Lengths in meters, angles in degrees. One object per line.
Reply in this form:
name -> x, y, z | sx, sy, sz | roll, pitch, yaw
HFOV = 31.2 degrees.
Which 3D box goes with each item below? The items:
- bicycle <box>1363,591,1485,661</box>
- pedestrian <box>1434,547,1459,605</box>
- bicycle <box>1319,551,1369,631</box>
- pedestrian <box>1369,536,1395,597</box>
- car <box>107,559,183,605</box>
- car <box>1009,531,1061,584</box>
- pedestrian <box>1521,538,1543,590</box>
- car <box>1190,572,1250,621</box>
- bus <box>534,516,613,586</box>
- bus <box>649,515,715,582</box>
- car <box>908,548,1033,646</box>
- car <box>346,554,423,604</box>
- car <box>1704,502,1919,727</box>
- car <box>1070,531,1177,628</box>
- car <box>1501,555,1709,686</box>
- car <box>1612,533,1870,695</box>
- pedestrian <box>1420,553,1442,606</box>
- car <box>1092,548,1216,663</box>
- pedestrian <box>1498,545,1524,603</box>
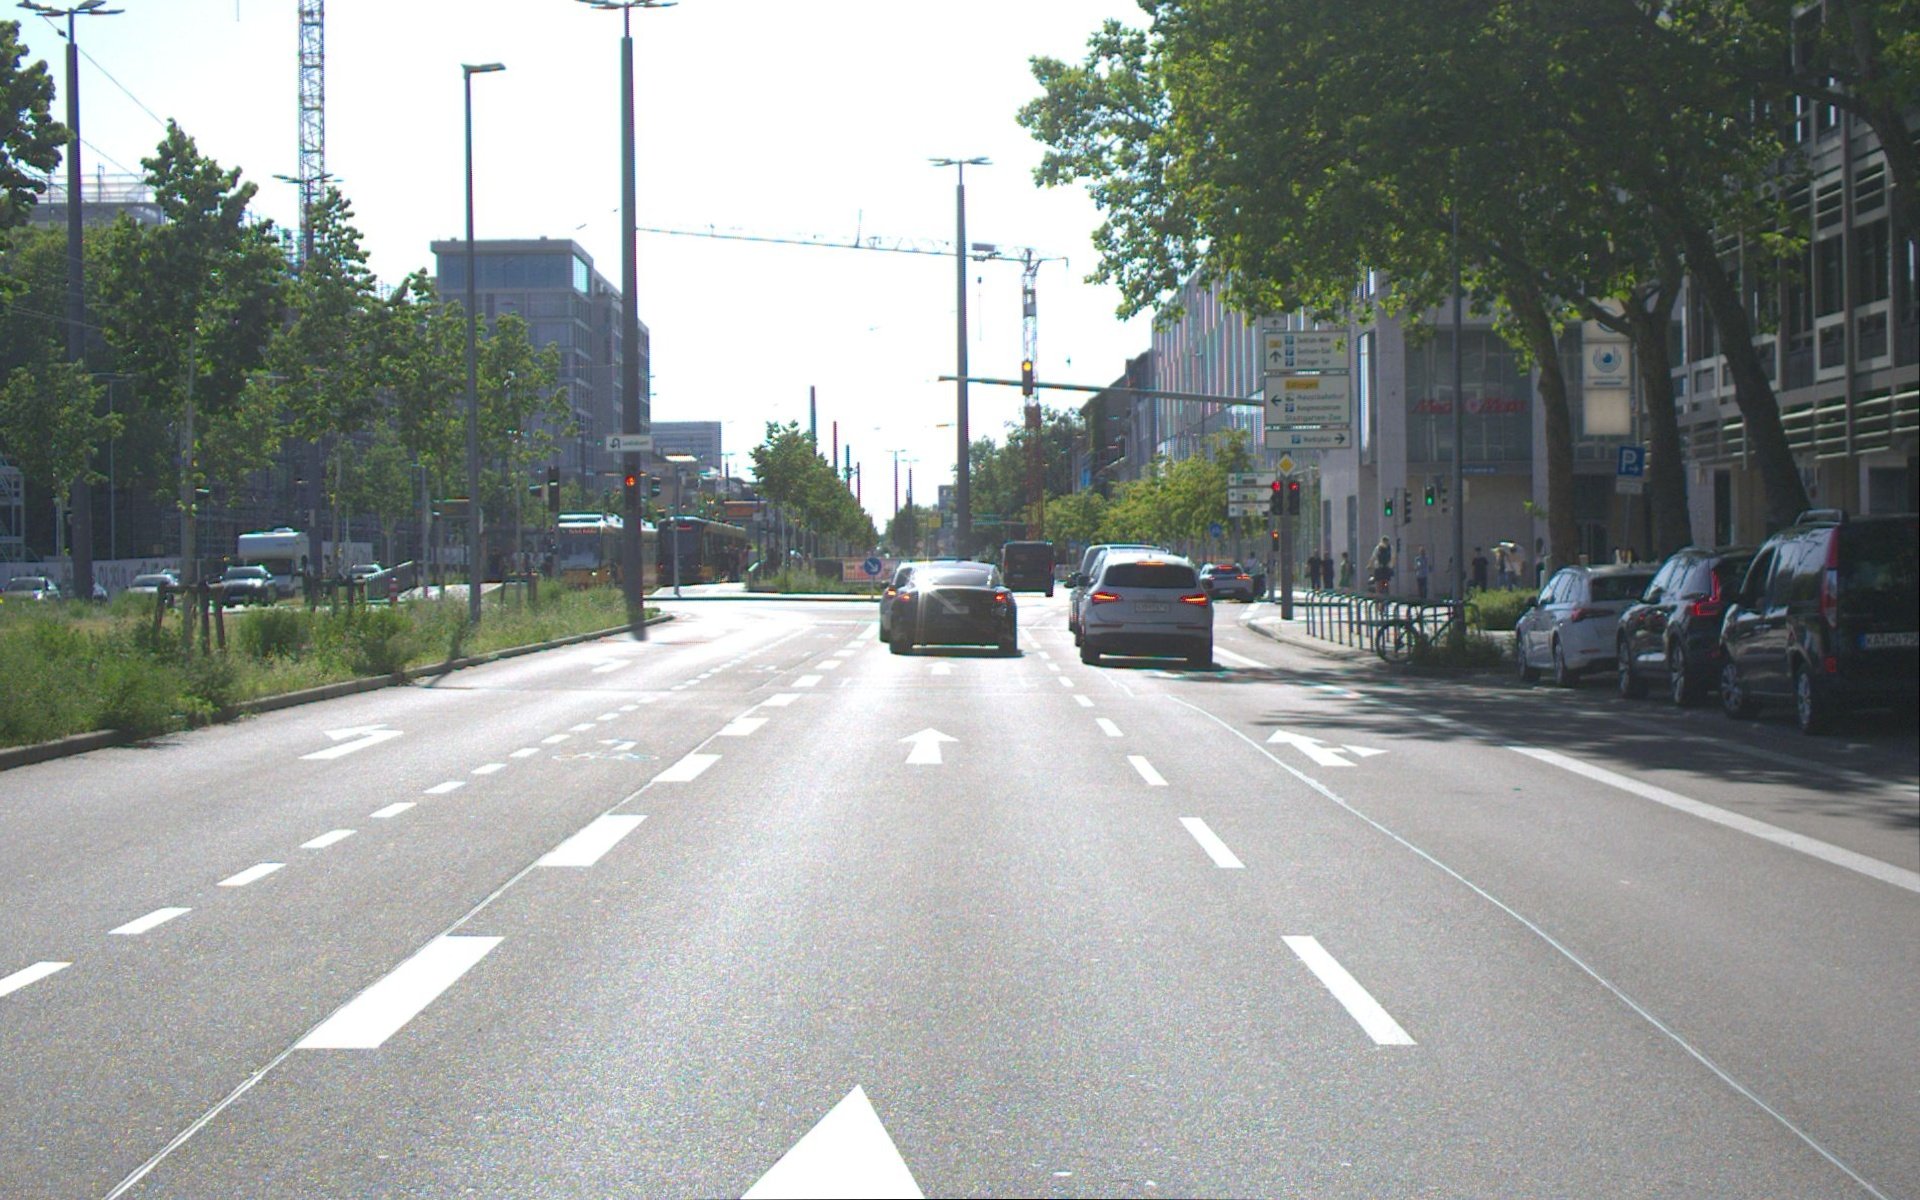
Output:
bicycle -> 6.817, 0.377, 50.567 | 1.693, 0.954, 0.478 | -2, 1, -4
pedestrian -> 12.295, -0.596, 86.860 | 0.562, 1.436, 0.631 | 2, 0, 7
bicycle -> 7.071, -0.165, 63.400 | 0.562, 1.436, 2.577 | 2, 0, -1
pedestrian -> 9.948, -0.787, 81.034 | 0.562, 1.436, 0.631 | 2, 0, 7
car -> -29.910, -0.634, 126.240 | 1.837, 1.607, 3.895 | 2, 0, 0
car -> 3.017, -1.702, 138.709 | 1.993, 2.007, 4.000 | 2, 0, 0
pedestrian -> 16.011, -1.011, 96.263 | 0.562, 1.436, 0.631 | 2, 0, 7
car -> 9.135, -0.107, 121.020 | 1.662, 1.644, 3.701 | 2, 0, -2
bus -> -16.351, -2.017, 145.835 | 2.627, 2.773, 8.845 | 2, 0, -2
bus -> -13.121, -2.410, 162.847 | 2.627, 2.949, 9.900 | 2, 0, -2
car -> 0.139, -0.076, 54.792 | 1.912, 1.481, 4.010 | 0, 1, -1
car -> -14.357, -0.511, 85.829 | 1.376, 1.174, 3.220 | 2, 0, 0
car -> 7.786, 0.064, 29.853 | 1.704, 1.784, 4.192 | -2, 1, 0
car -> 3.042, -0.409, 64.659 | 1.721, 1.776, 4.186 | 0, 1, -1
car -> 7.815, 0.208, 42.047 | 1.704, 1.487, 4.600 | 0, 1, 0
car -> 7.930, 0.109, 35.244 | 1.704, 1.558, 4.192 | 0, 1, 0
pedestrian -> 13.067, -0.562, 95.432 | 0.562, 1.436, 0.631 | 2, 0, 7
car -> 2.828, 0.046, 50.833 | 1.721, 1.612, 4.186 | 0, 1, 2
pedestrian -> 13.842, -0.659, 86.370 | 0.562, 1.436, 0.631 | 2, 0, 7
